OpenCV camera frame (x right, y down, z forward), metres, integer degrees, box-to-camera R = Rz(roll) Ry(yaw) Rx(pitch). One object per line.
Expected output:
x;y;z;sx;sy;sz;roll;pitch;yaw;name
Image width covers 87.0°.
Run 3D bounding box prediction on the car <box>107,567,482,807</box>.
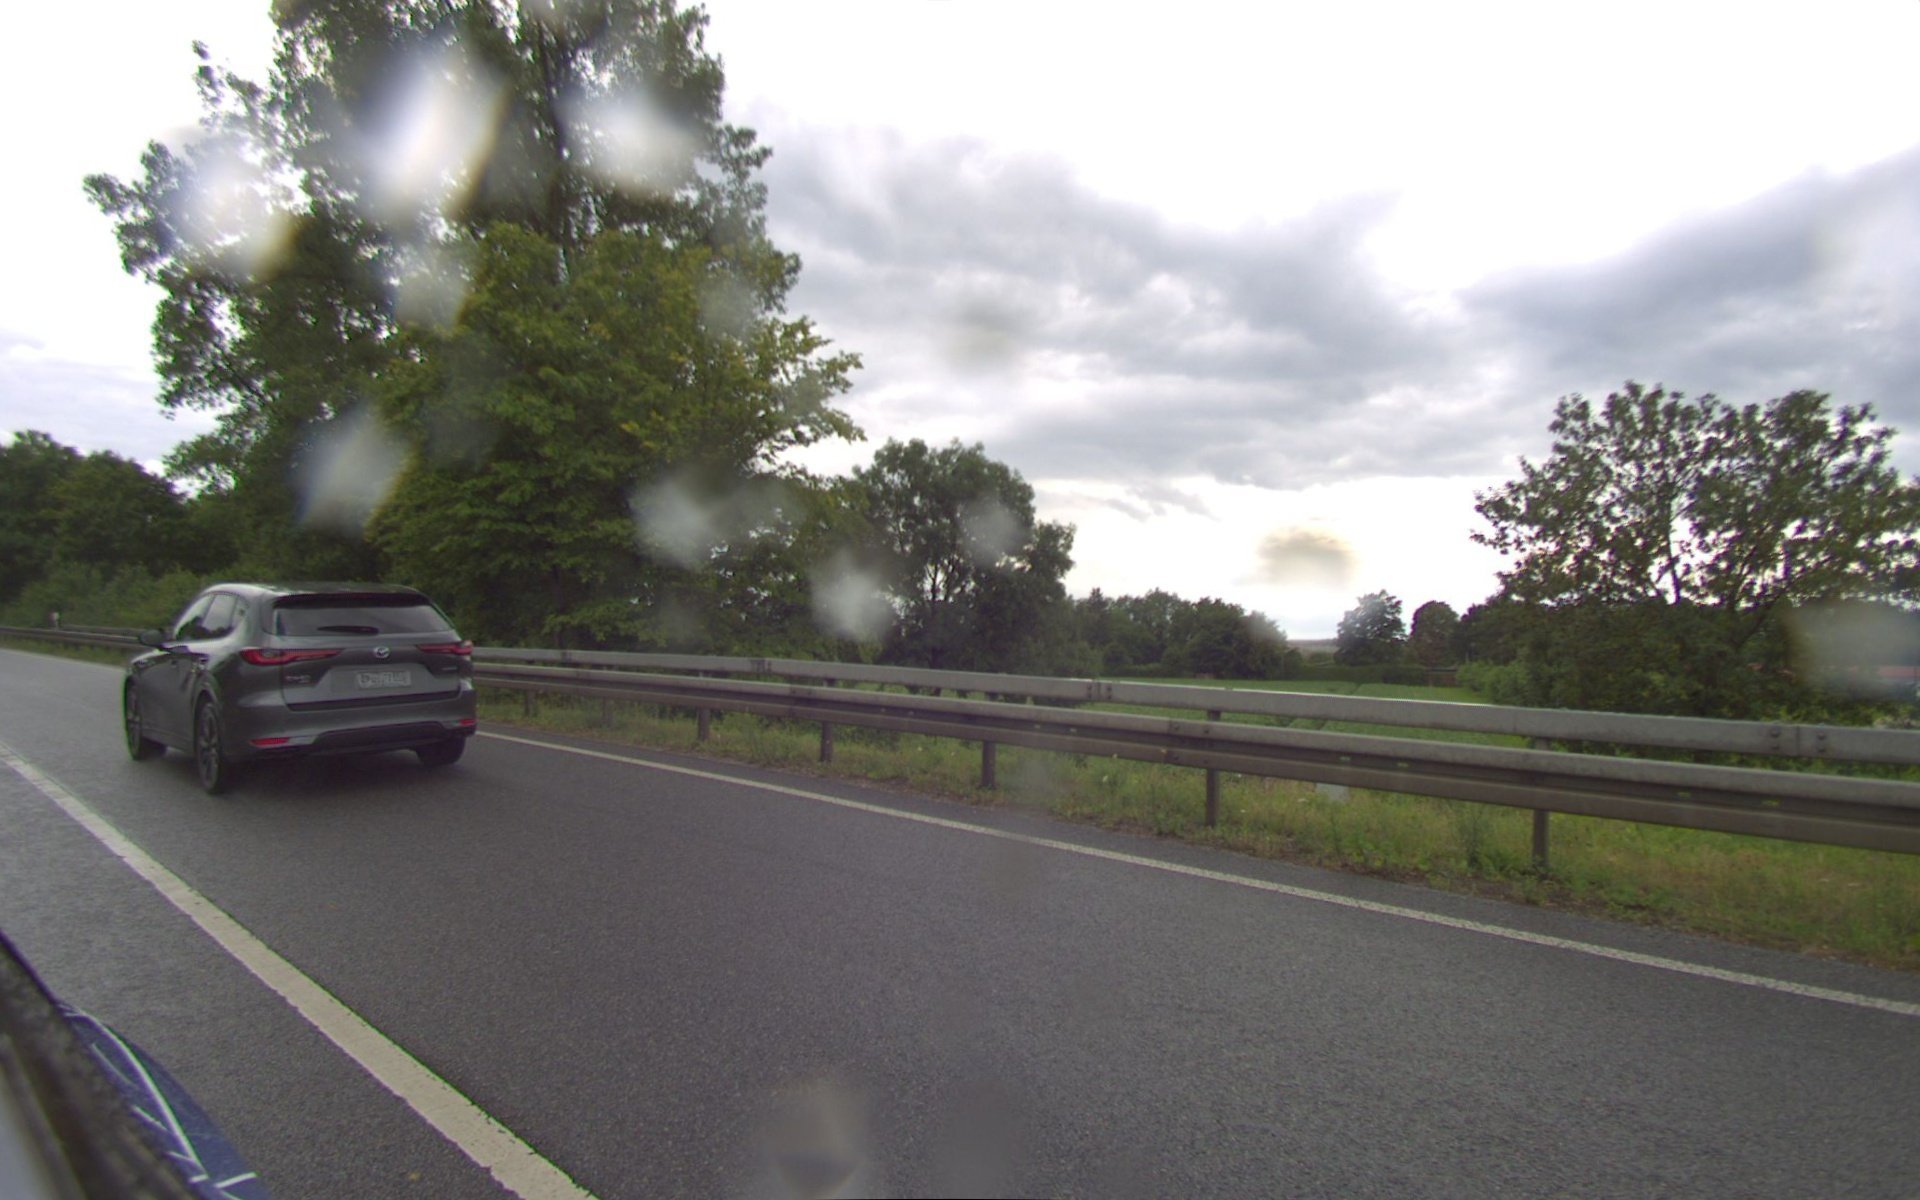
-6.207;0.656;9.202;4.522;1.666;1.728;-2;-1;41;car
